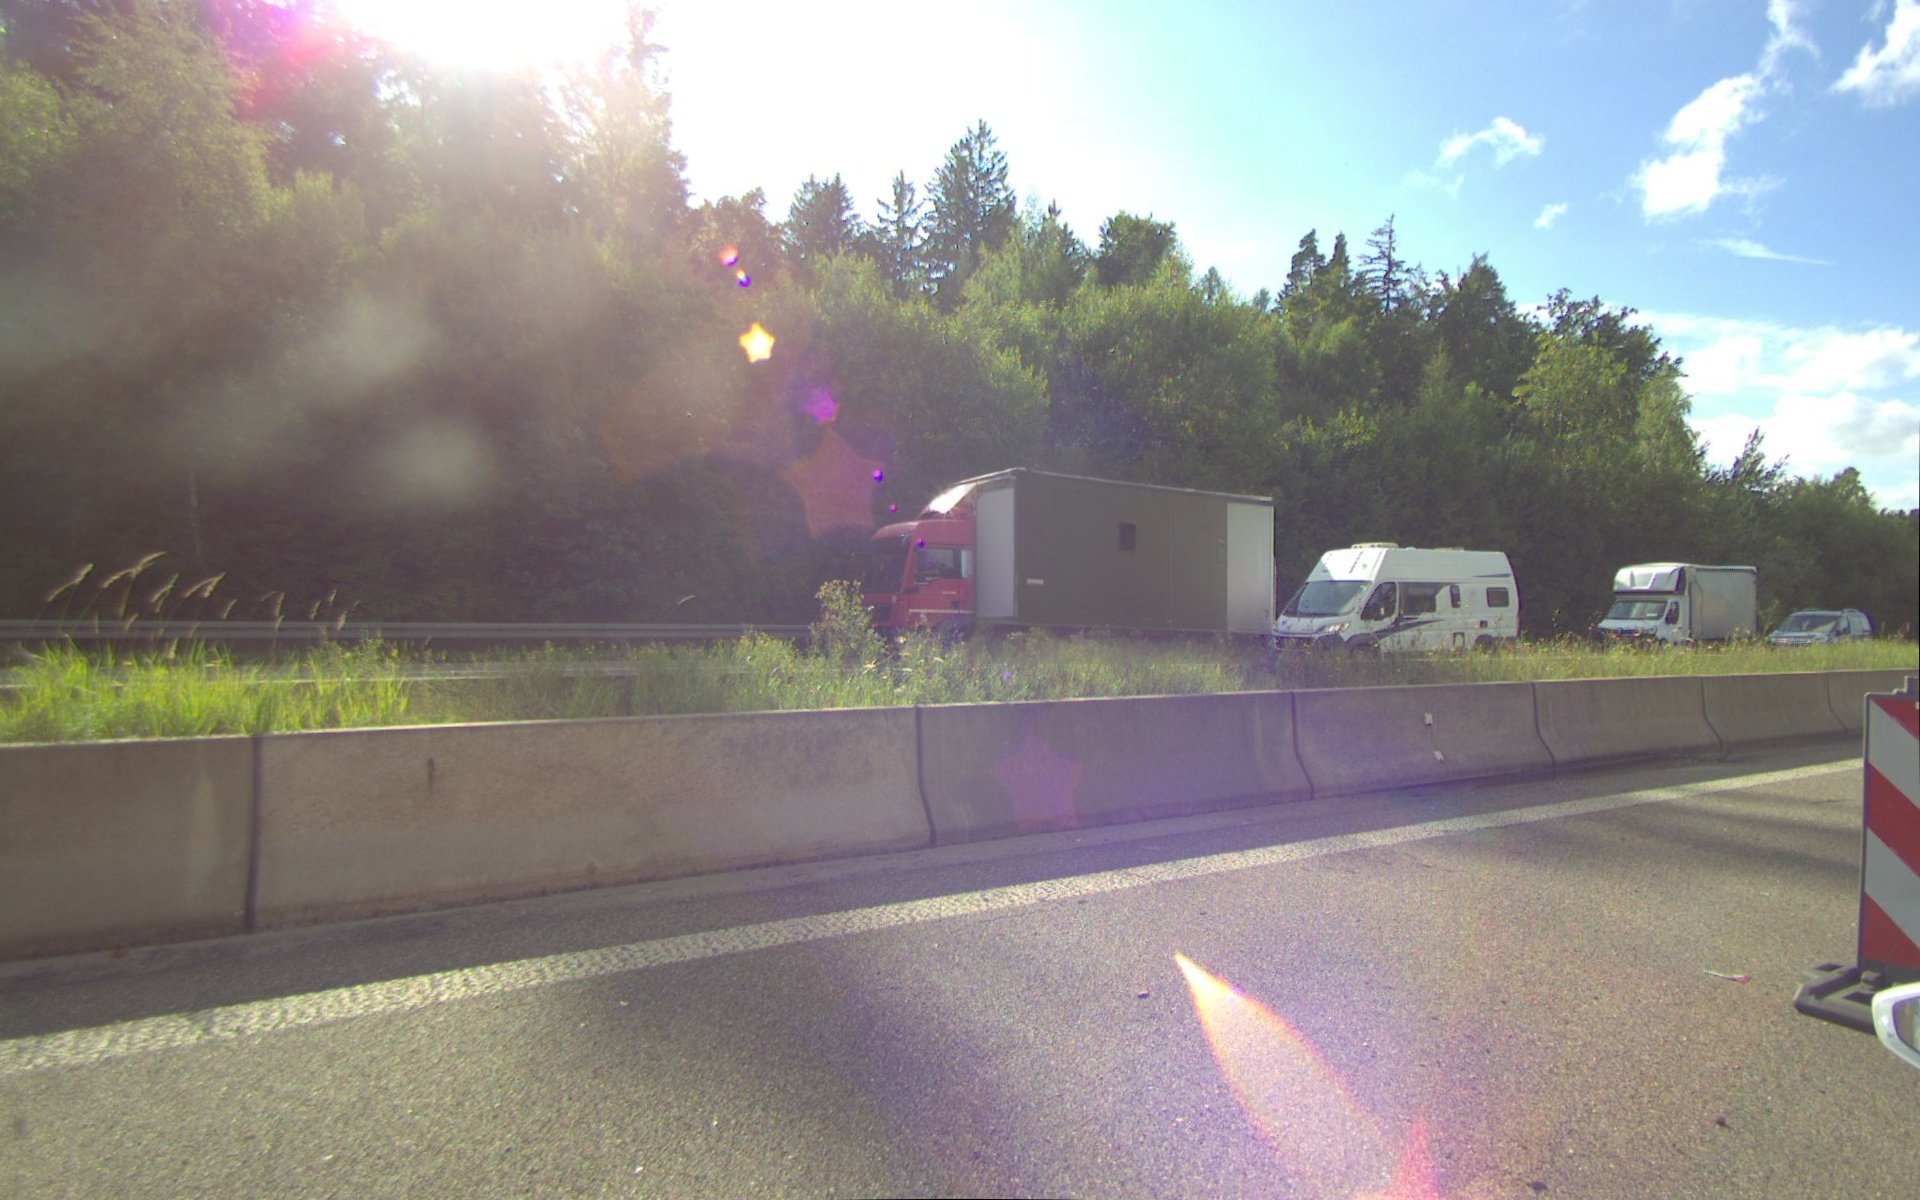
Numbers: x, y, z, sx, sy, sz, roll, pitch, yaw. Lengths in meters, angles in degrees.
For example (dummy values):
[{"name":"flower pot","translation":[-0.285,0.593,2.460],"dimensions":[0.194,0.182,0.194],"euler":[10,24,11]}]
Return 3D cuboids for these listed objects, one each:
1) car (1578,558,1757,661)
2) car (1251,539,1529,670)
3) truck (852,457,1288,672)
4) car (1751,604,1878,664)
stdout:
[{"name":"car","translation":[25.739,0.399,36.434],"dimensions":[7.367,3.415,2.474],"euler":[2,0,-31]},{"name":"car","translation":[9.272,0.132,21.460],"dimensions":[6.257,2.484,2.150],"euler":[1,0,-30]},{"name":"truck","translation":[2.771,-0.550,22.666],"dimensions":[10.066,4.045,2.787],"euler":[2,0,-30]},{"name":"car","translation":[28.186,1.109,33.113],"dimensions":[4.071,1.837,1.935],"euler":[2,0,-30]}]
